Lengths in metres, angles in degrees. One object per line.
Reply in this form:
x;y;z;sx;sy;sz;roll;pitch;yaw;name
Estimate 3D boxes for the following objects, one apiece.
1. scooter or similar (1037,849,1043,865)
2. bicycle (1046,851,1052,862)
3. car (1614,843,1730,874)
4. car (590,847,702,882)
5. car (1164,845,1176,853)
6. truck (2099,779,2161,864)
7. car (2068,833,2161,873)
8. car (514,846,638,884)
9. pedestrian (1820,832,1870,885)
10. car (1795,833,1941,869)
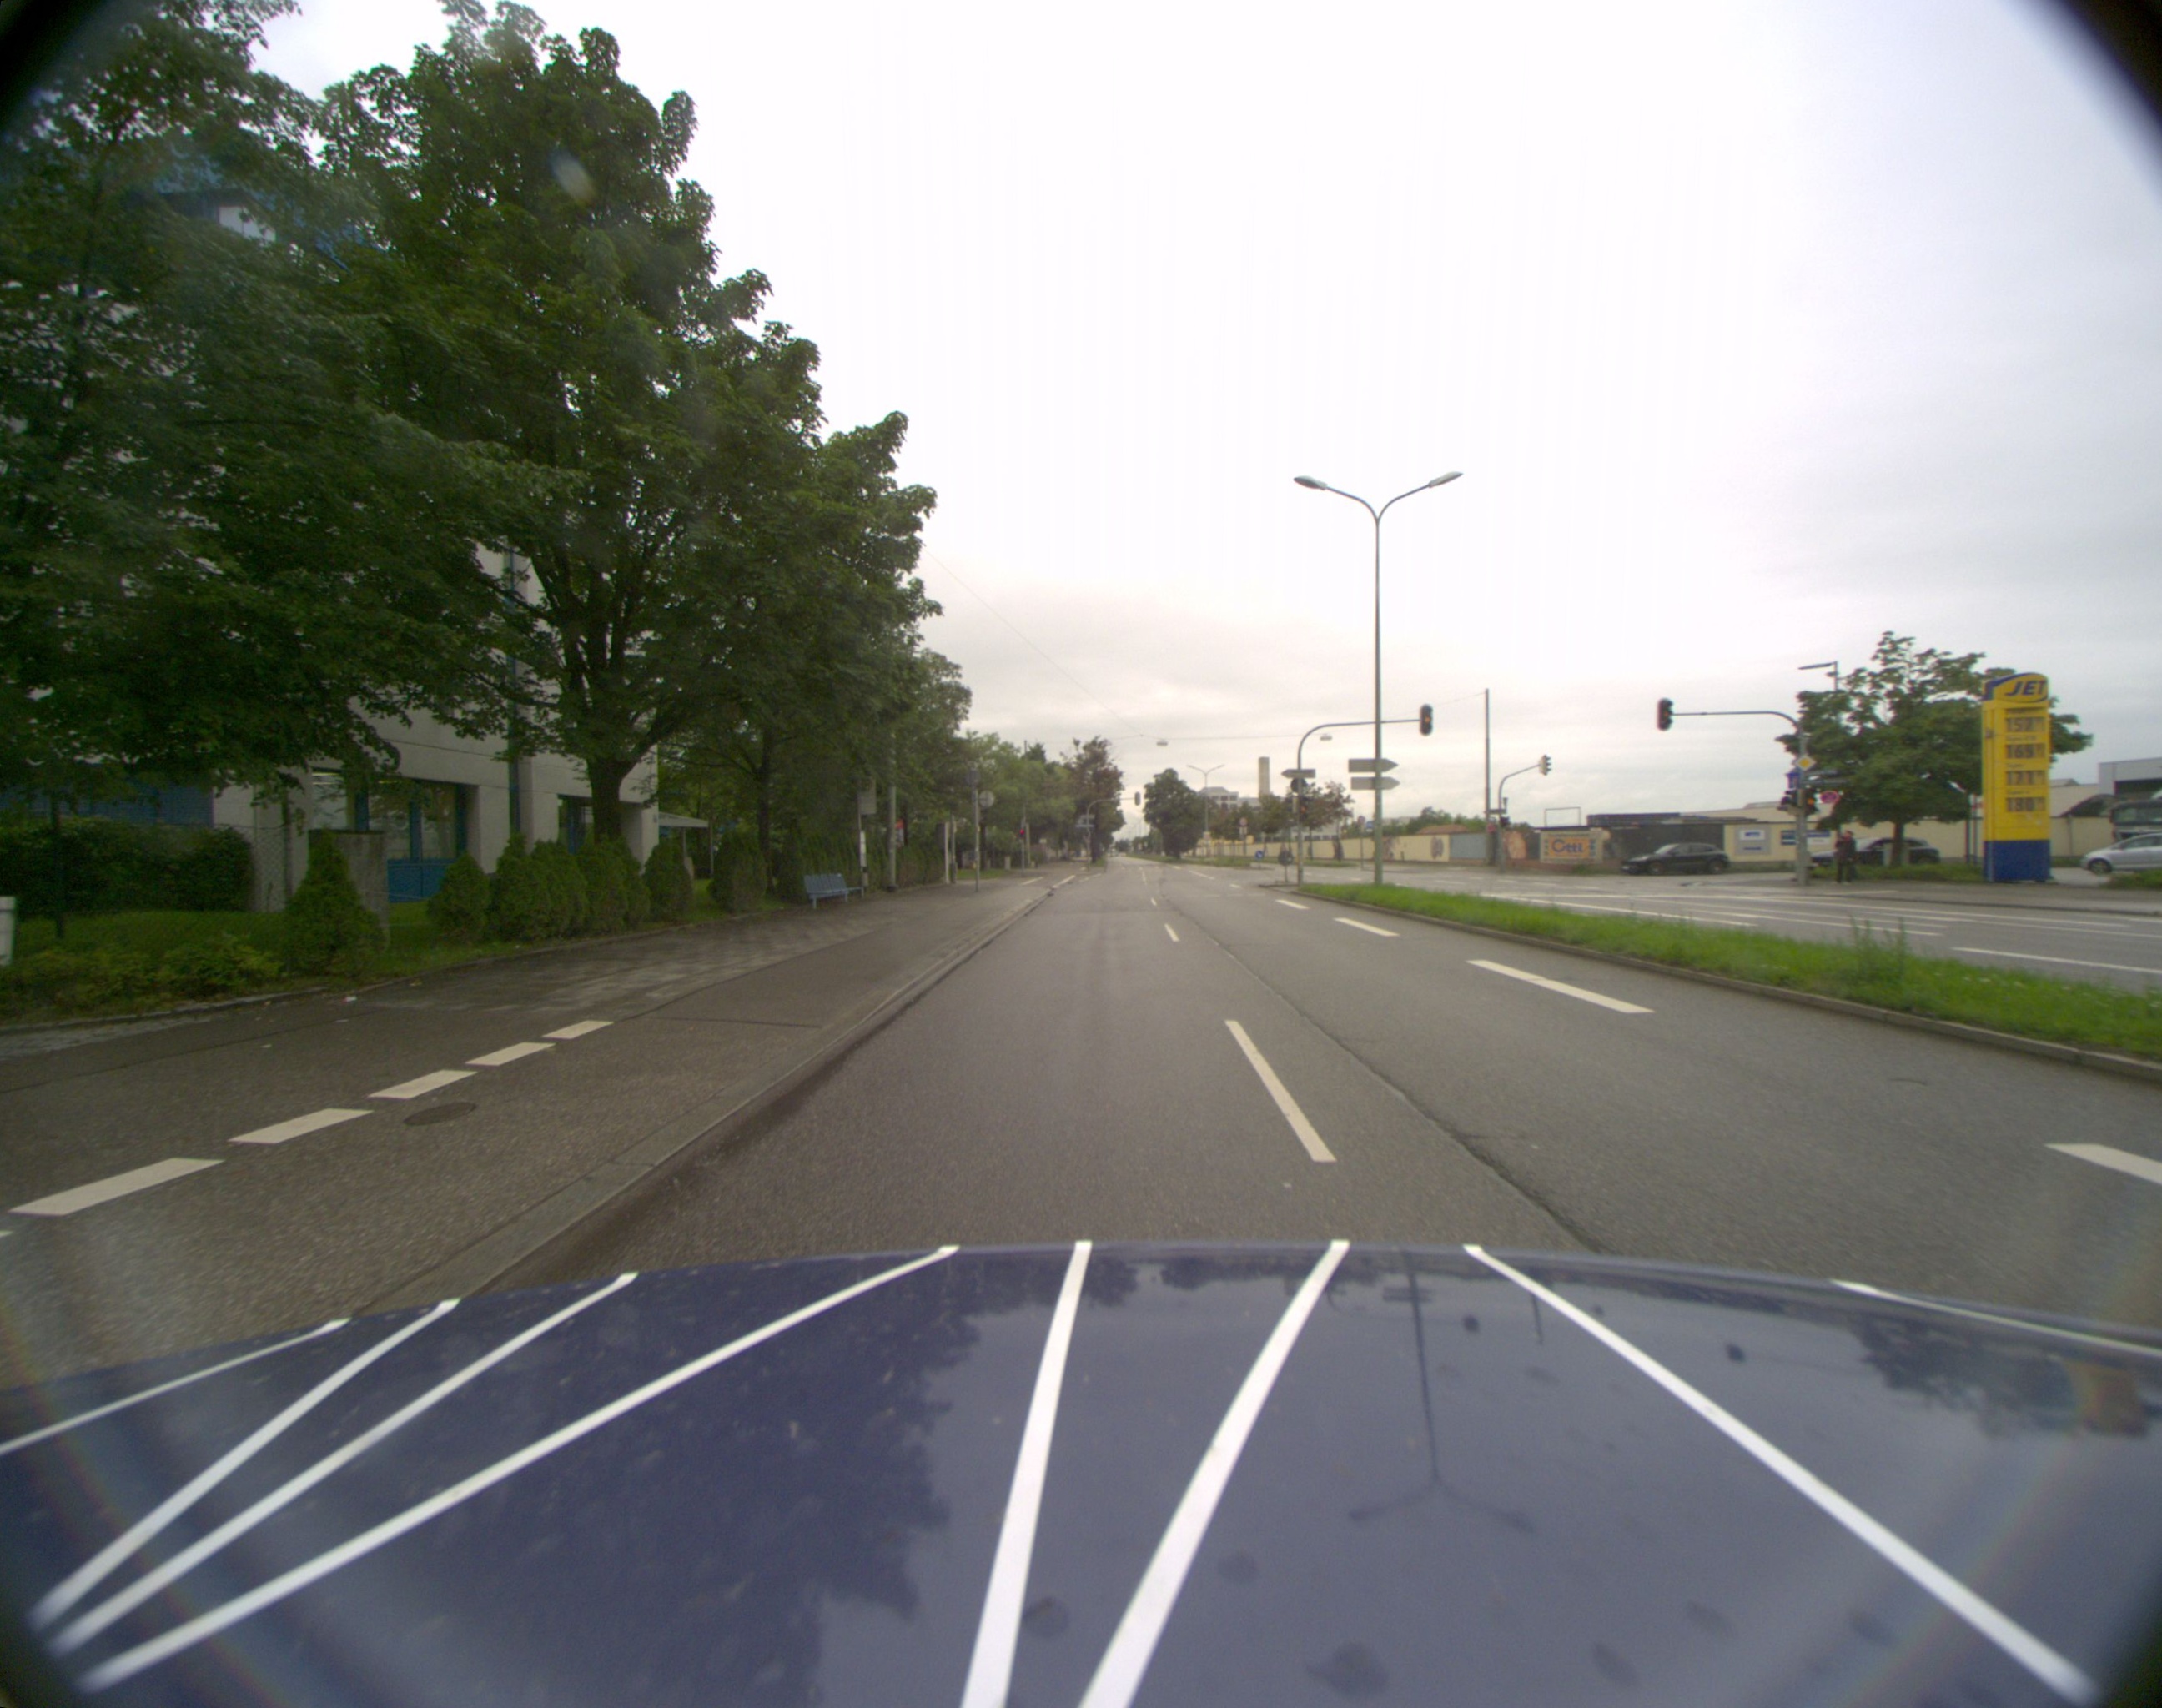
-3.699;0.279;68.525;0.371;1.416;1.404;0;1;-13;scooter or similar
-3.648;0.276;87.890;0.583;1.288;2.454;0;1;0;bicycle
29.949;0.224;38.597;4.259;1.419;2.001;-1;0;5;car
-18.690;0.418;32.658;4.167;1.410;1.872;0;1;19;car
16.963;-1.019;144.699;1.916;1.498;4.440;0;0;3;car
54.913;-1.593;34.823;11.923;3.833;2.611;-1;1;5;truck
40.158;-0.037;28.281;1.627;1.477;3.978;0;0;0;car
-19.786;0.394;29.794;4.167;1.410;1.872;0;1;19;car
23.987;0.141;23.861;0.804;1.605;0.687;-3;1;1;pedestrian
37.057;-0.145;35.876;4.627;1.524;2.001;-1;0;5;car
